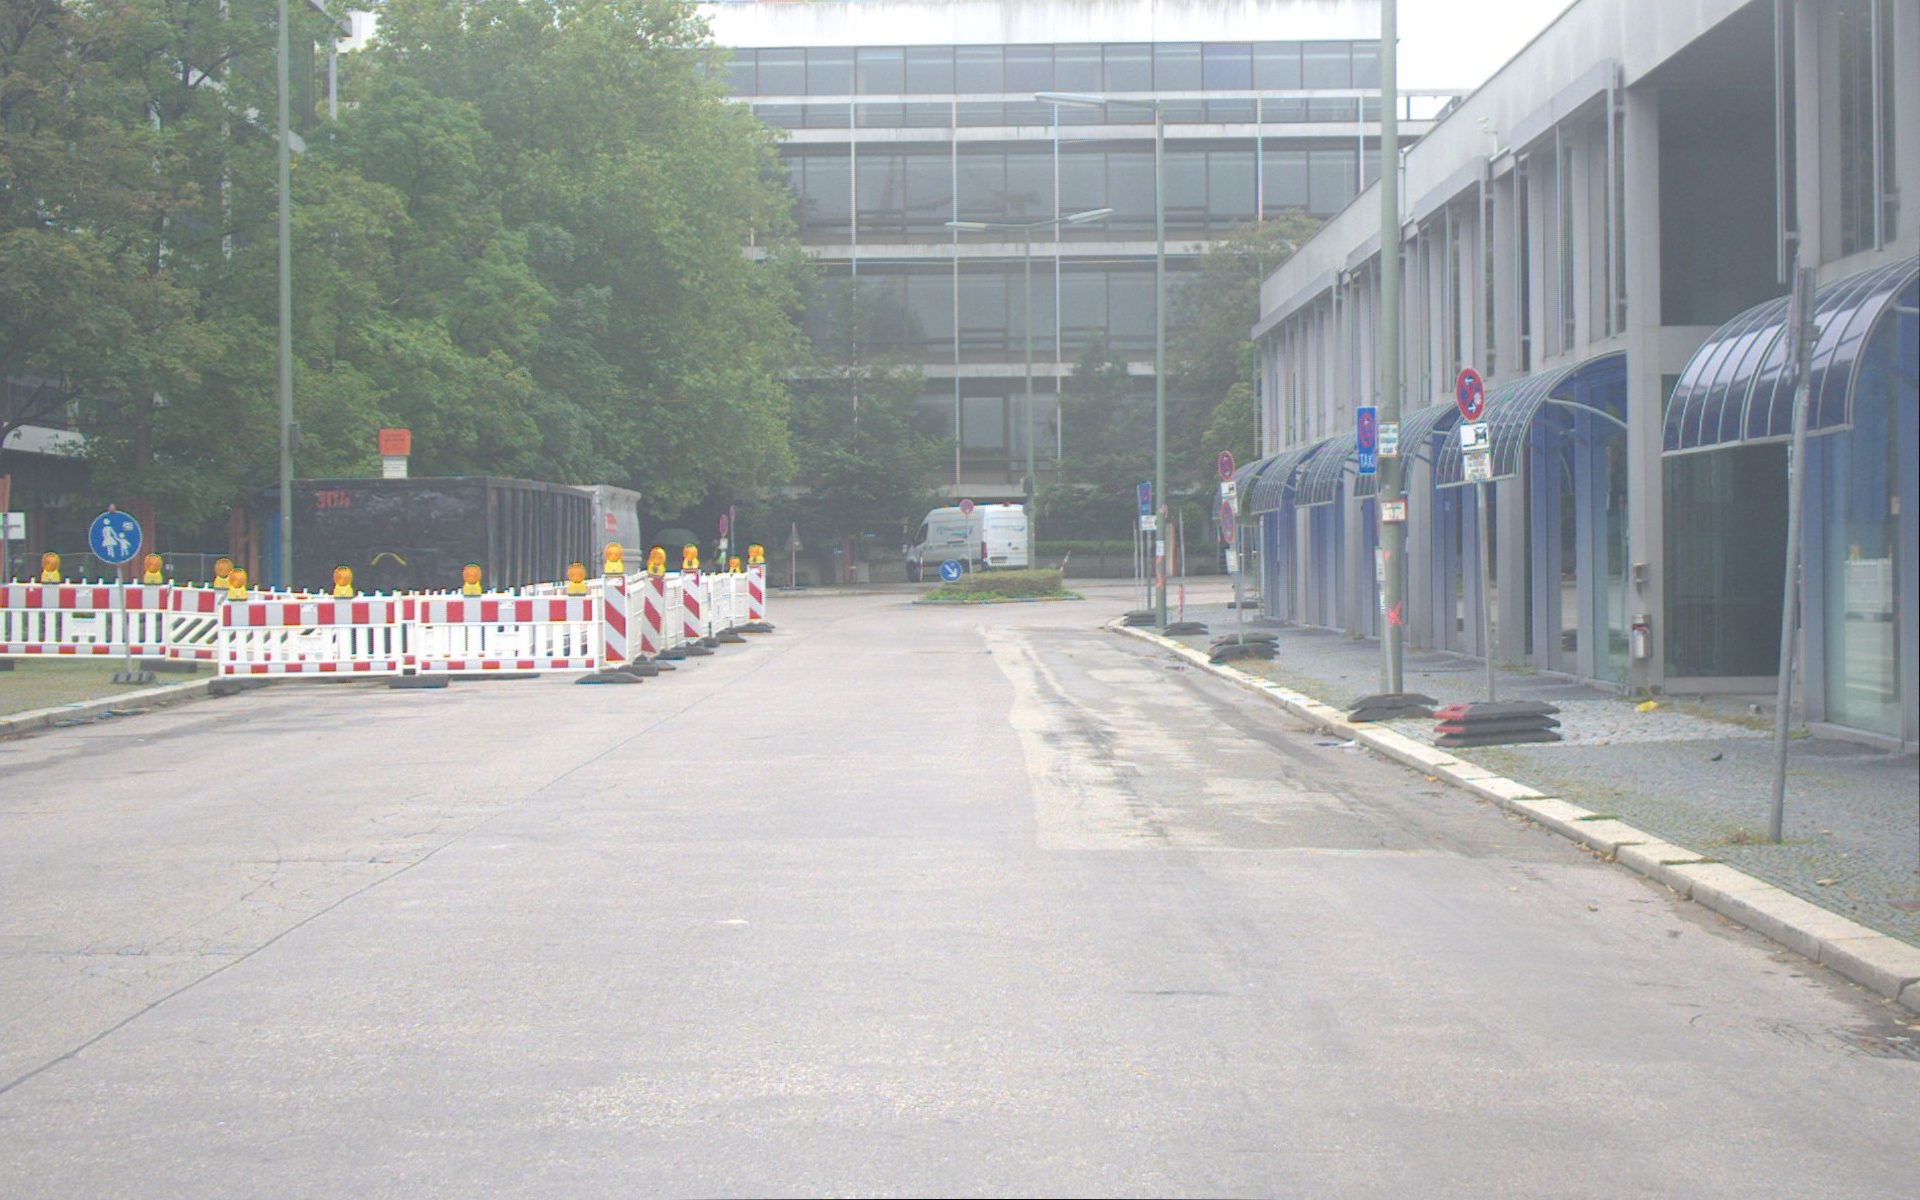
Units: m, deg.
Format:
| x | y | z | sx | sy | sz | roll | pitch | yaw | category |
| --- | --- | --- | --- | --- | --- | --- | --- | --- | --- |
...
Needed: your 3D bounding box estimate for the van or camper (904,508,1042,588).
| x | y | z | sx | sy | sz | roll | pitch | yaw | category |
| --- | --- | --- | --- | --- | --- | --- | --- | --- | --- |
| 0.392 | -1.760 | 118.898 | 2.155 | 2.572 | 6.540 | 0 | -1 | -25 | van or camper |
